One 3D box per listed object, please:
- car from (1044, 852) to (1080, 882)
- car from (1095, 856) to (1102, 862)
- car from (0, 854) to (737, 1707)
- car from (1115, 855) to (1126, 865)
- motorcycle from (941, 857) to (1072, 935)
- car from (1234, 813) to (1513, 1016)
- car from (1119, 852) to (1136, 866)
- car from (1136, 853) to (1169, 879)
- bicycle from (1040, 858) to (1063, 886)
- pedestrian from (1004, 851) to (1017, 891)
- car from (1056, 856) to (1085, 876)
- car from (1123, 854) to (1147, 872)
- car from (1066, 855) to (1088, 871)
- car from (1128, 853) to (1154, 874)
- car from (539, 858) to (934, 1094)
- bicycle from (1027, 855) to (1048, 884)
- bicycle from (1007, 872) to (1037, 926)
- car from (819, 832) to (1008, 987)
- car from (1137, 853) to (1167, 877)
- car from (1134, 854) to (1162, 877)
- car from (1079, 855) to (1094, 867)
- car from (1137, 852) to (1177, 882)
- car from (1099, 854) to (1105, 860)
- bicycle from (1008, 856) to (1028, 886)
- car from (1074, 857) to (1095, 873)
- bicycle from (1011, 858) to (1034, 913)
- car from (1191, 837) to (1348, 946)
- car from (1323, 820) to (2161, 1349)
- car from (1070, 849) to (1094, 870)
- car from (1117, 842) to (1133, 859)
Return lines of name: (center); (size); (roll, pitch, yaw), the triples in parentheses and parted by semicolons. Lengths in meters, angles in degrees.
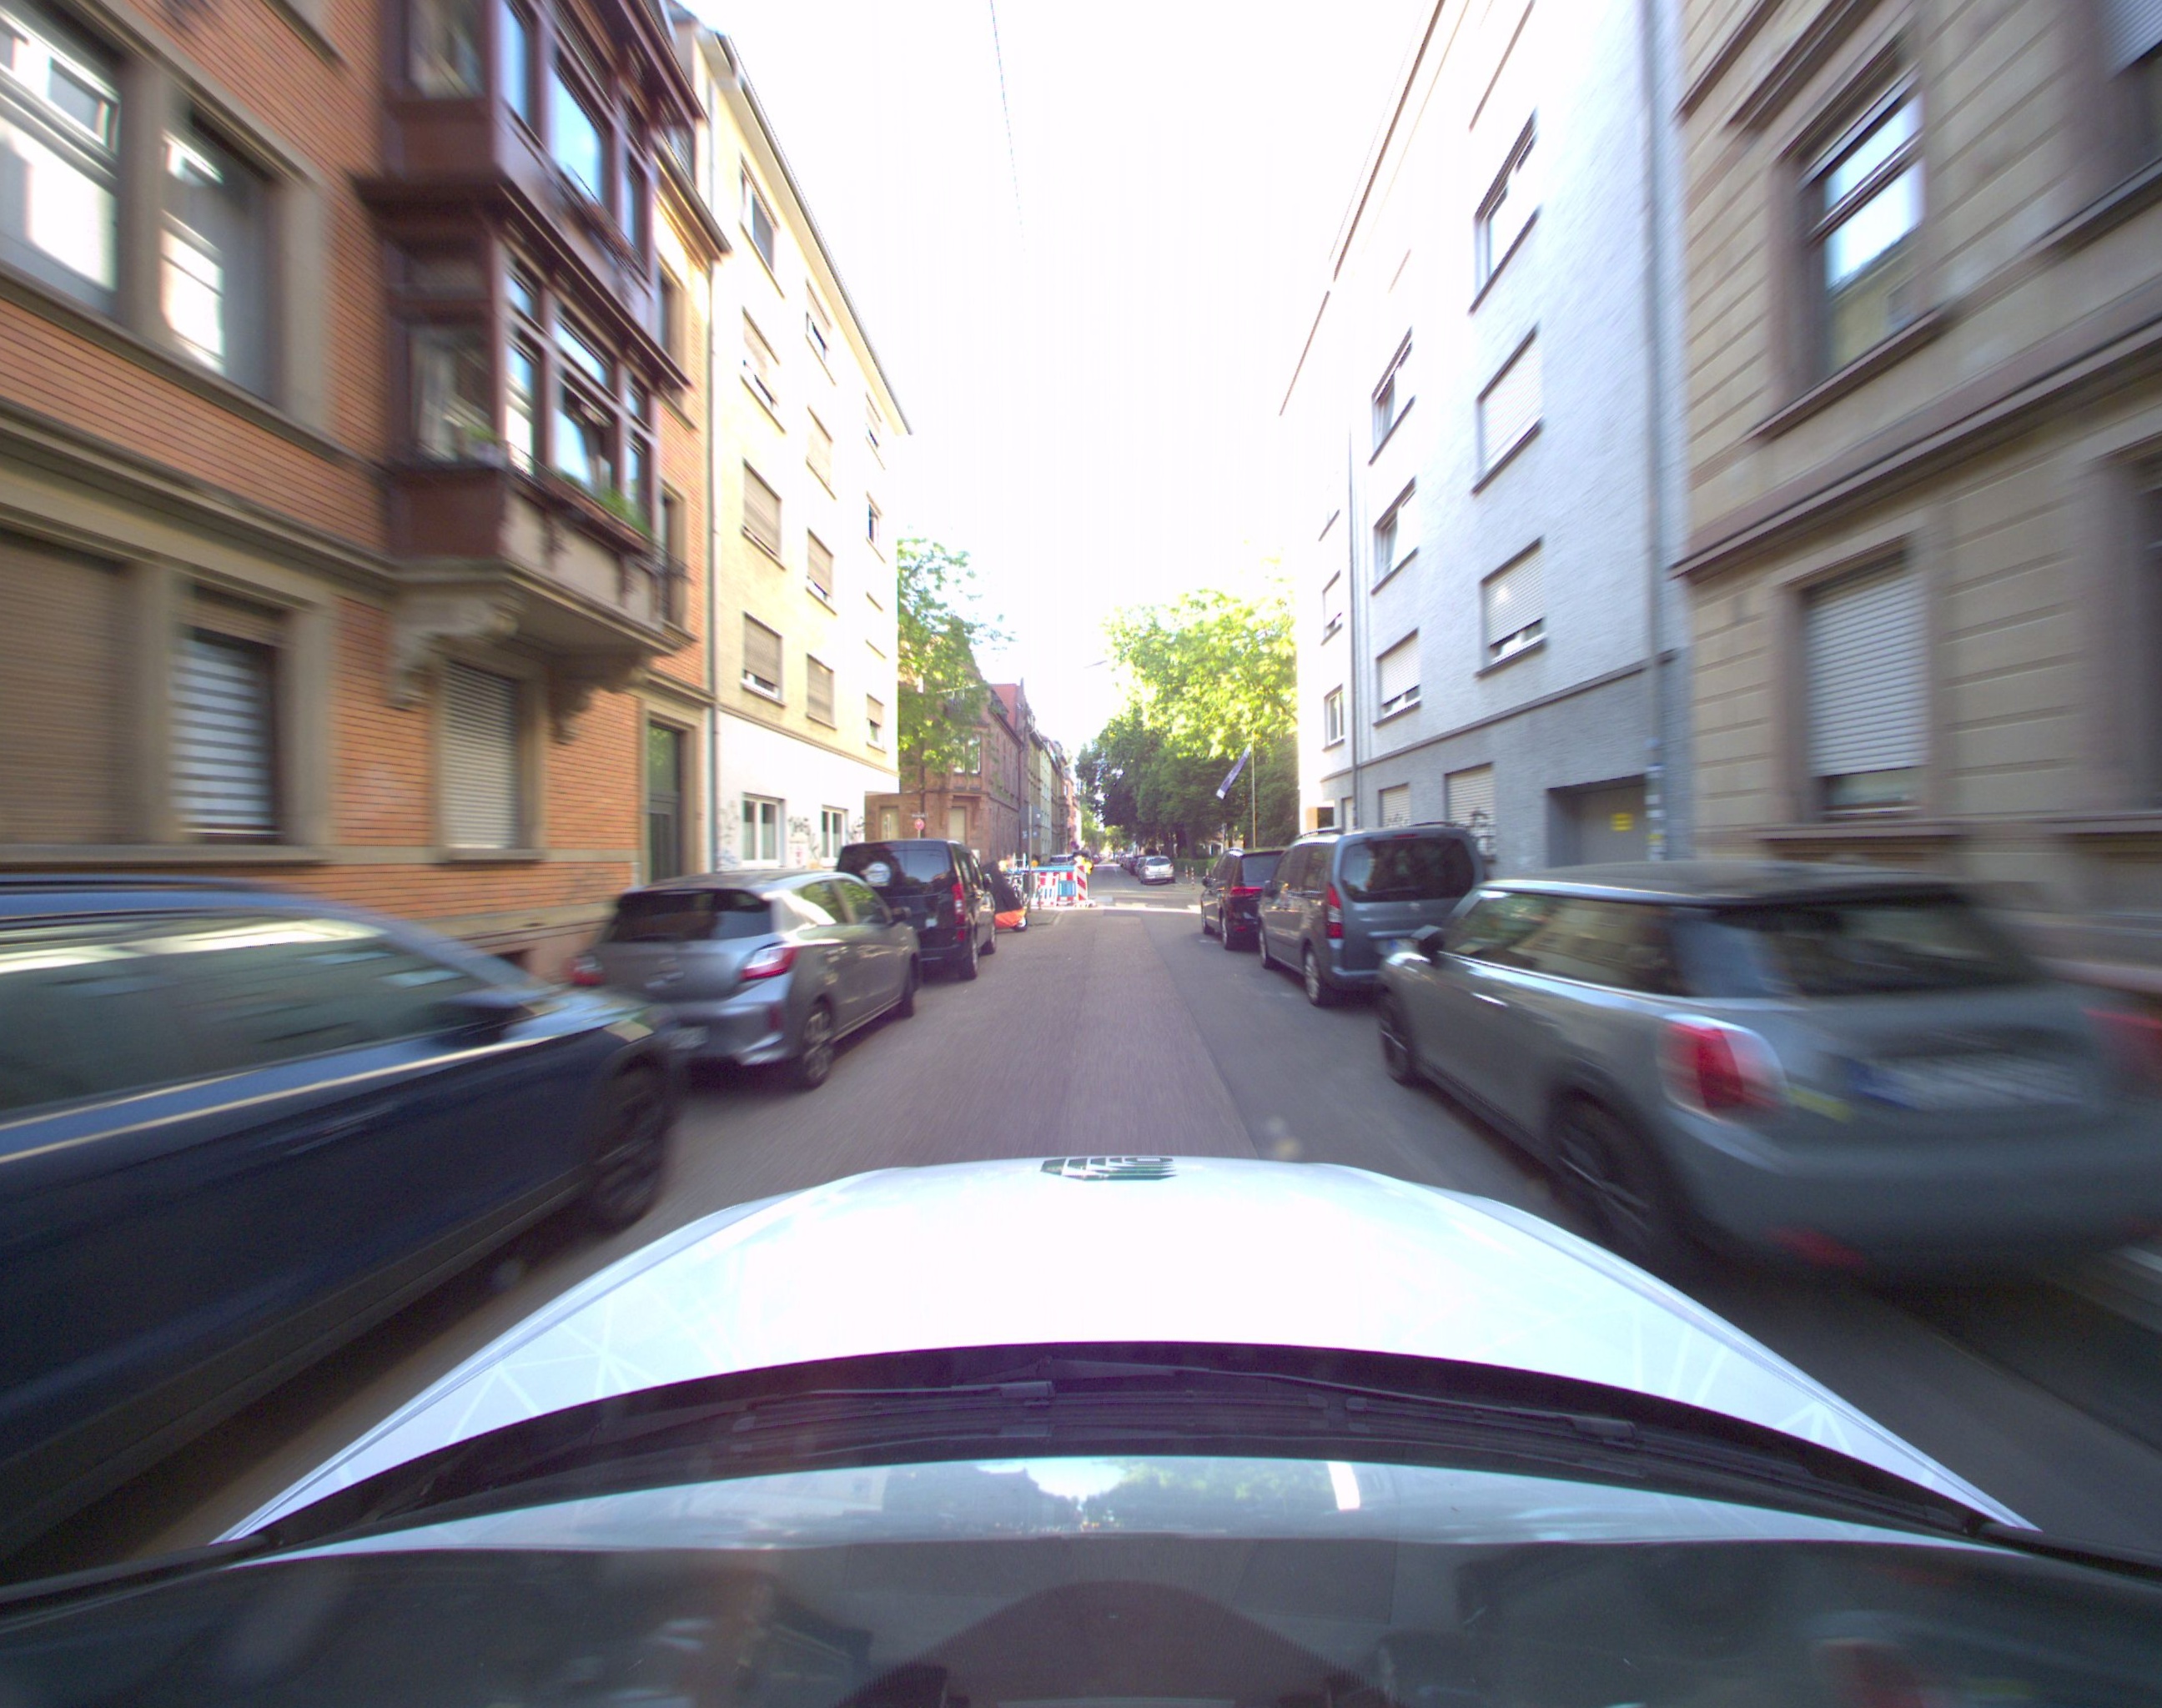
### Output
car: (-1.133, 0.807, 50.253); (1.874, 1.707, 4.002); (-2, -1, 3)
car: (5.046, 1.403, 235.663); (1.986, 1.647, 4.001); (-1, -1, 2)
car: (-2.873, 0.801, 2.303); (1.986, 1.552, 4.001); (-1, 0, 1)
car: (7.487, 1.134, 153.318); (1.986, 1.728, 4.001); (-1, 0, 1)
motorcycle: (-1.514, 0.821, 16.657); (2.524, 1.482, 0.896); (0, 0, -25)
car: (3.154, 0.550, 9.927); (1.747, 1.786, 4.725); (-3, 0, 2)
car: (5.457, 0.589, 96.581); (1.823, 1.703, 4.001); (-1, 0, 1)
car: (4.300, 0.737, 49.658); (1.717, 1.522, 4.000); (-1, -1, 1)
bicycle: (-1.484, 0.859, 40.544); (0.683, 1.345, 2.491); (-1, 0, -13)
pedestrian: (-3.156, 0.748, 36.343); (0.523, 1.740, 0.557); (-1, -1, -3)
car: (-0.770, 0.889, 61.327); (1.874, 1.411, 4.002); (-2, -1, 3)
car: (4.960, 0.830, 75.198); (1.986, 1.574, 4.000); (-1, -1, 1)
car: (-0.307, 0.800, 71.010); (1.765, 1.353, 4.001); (0, 0, 1)
car: (4.794, 0.769, 65.321); (1.887, 1.625, 4.001); (-1, -1, 1)
car: (-2.470, 0.763, 6.874); (1.670, 1.449, 3.646); (0, 0, 2)
bicycle: (-2.190, 0.753, 40.609); (0.573, 1.423, 2.491); (-1, 0, -14)
bicycle: (-1.336, 0.995, 18.629); (0.423, 1.140, 1.667); (2, 0, 3)
car: (-2.131, 0.644, 11.590); (1.813, 1.766, 4.333); (-1, 0, -1)
car: (4.757, 0.725, 55.293); (1.735, 1.574, 4.000); (-1, -1, 1)
car: (4.949, 0.840, 60.483); (1.834, 1.596, 4.001); (-1, 0, 1)
car: (0.761, 0.906, 108.966); (1.896, 1.574, 4.000); (-1, -1, 1)
car: (4.053, 0.680, 44.128); (1.718, 1.522, 3.998); (-1, 0, -1)
car: (6.748, 1.005, 257.768); (1.986, 1.647, 4.001); (-1, -1, 2)
bicycle: (-3.157, 0.827, 41.115); (0.680, 1.423, 2.799); (-1, 0, 2)
car: (0.412, 1.079, 79.905); (1.986, 1.574, 4.000); (-1, -1, 1)
bicycle: (-1.409, 0.734, 19.735); (0.398, 1.227, 1.505); (-1, 1, 1)
car: (3.163, 0.592, 14.610); (1.893, 1.640, 4.392); (-1, -1, 1)
car: (2.803, 0.676, 4.564); (1.746, 1.453, 4.292); (-5, 0, 3)
car: (0.194, 0.596, 88.325); (2.299, 2.114, 5.173); (-1, -1, 3)
car: (6.240, -0.470, 115.677); (2.153, 2.255, 4.526); (-1, -1, 1)
